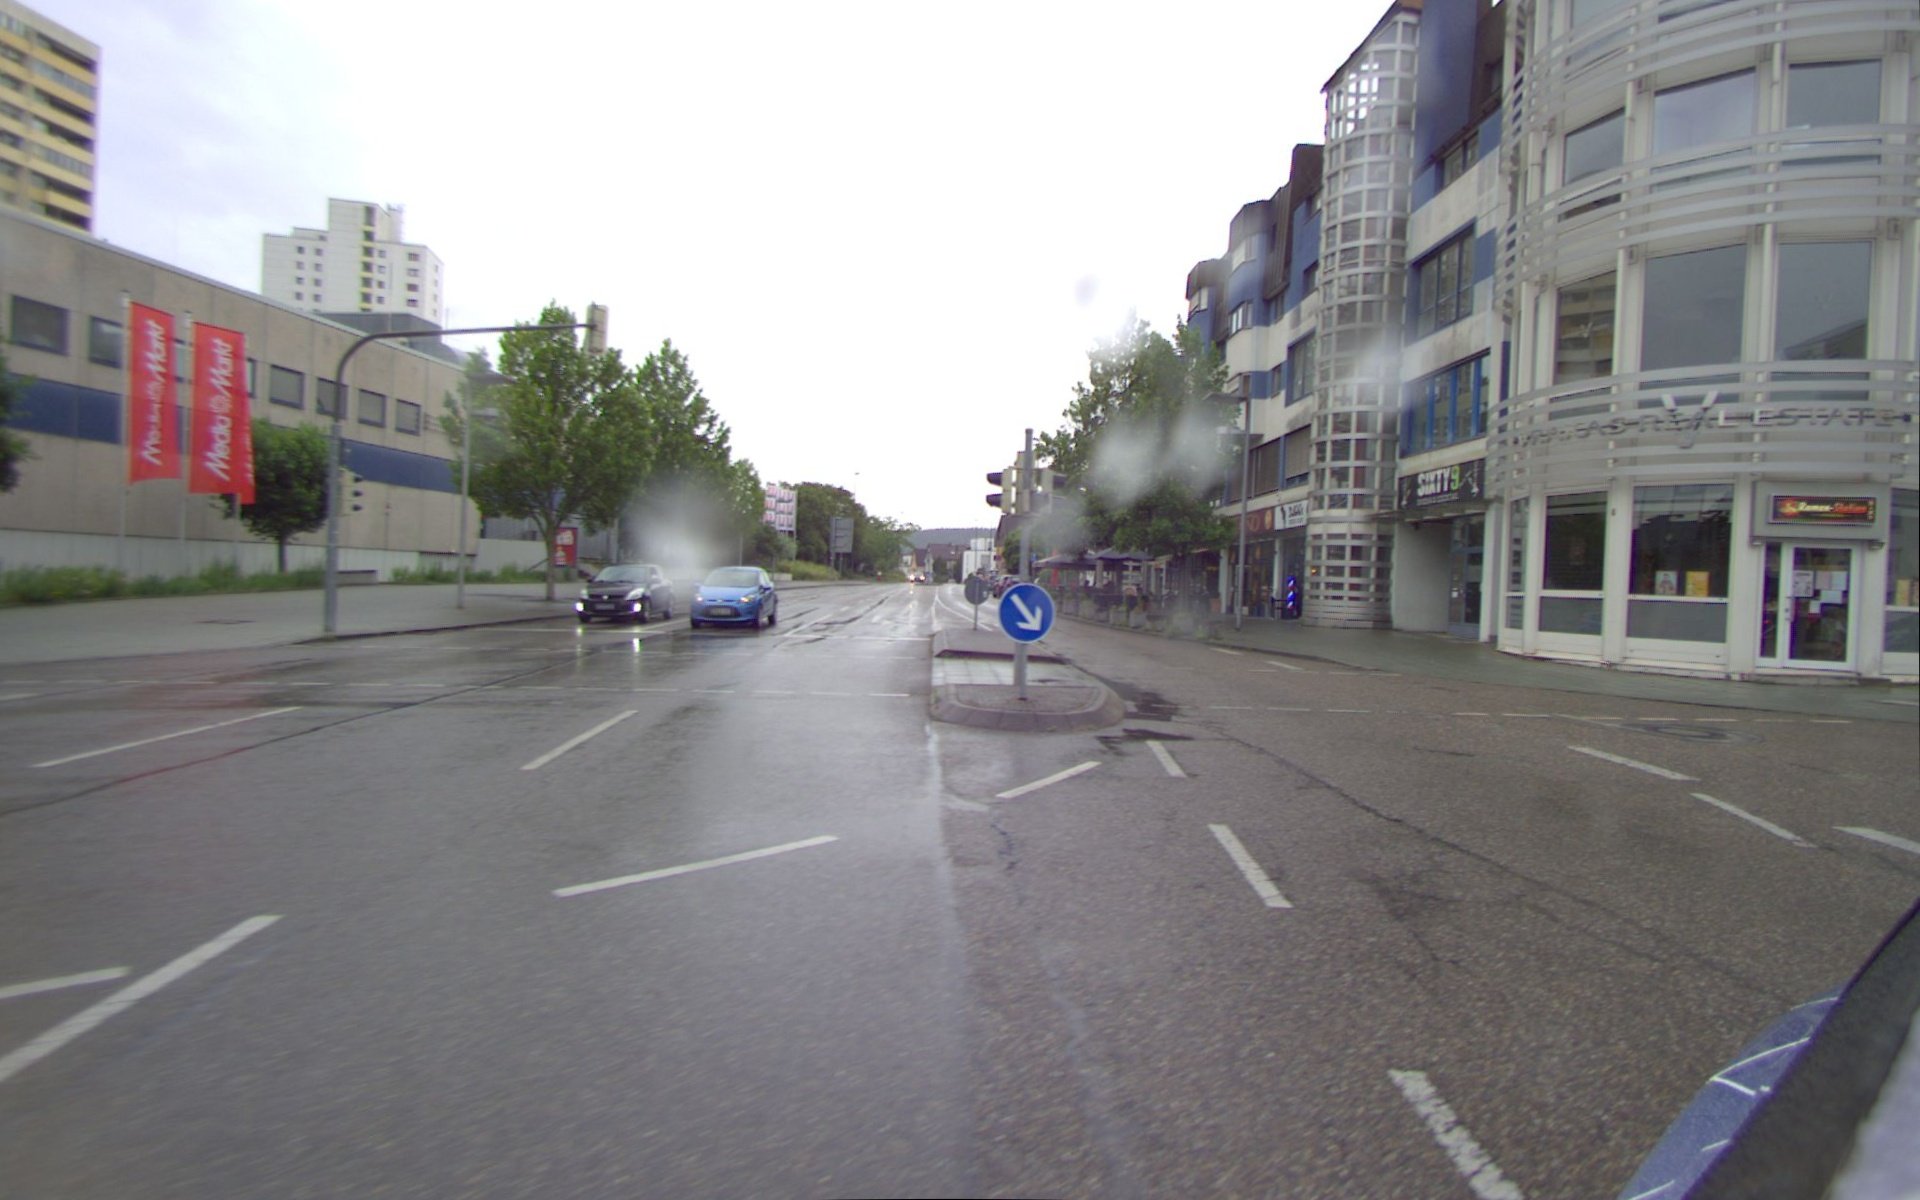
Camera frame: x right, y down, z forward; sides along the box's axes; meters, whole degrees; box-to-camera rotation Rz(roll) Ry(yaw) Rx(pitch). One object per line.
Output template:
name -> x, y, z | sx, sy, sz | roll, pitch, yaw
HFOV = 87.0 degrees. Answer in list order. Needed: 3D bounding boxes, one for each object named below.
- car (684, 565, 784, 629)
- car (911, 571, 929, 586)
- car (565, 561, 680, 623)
car -> -5.523, -0.139, 25.136 | 1.647, 1.414, 3.858 | 1, 2, -1
car -> -5.131, -2.727, 129.676 | 1.963, 1.798, 3.997 | 1, -1, 2
car -> -8.566, -0.262, 26.007 | 1.711, 1.411, 3.698 | 1, 2, 0
